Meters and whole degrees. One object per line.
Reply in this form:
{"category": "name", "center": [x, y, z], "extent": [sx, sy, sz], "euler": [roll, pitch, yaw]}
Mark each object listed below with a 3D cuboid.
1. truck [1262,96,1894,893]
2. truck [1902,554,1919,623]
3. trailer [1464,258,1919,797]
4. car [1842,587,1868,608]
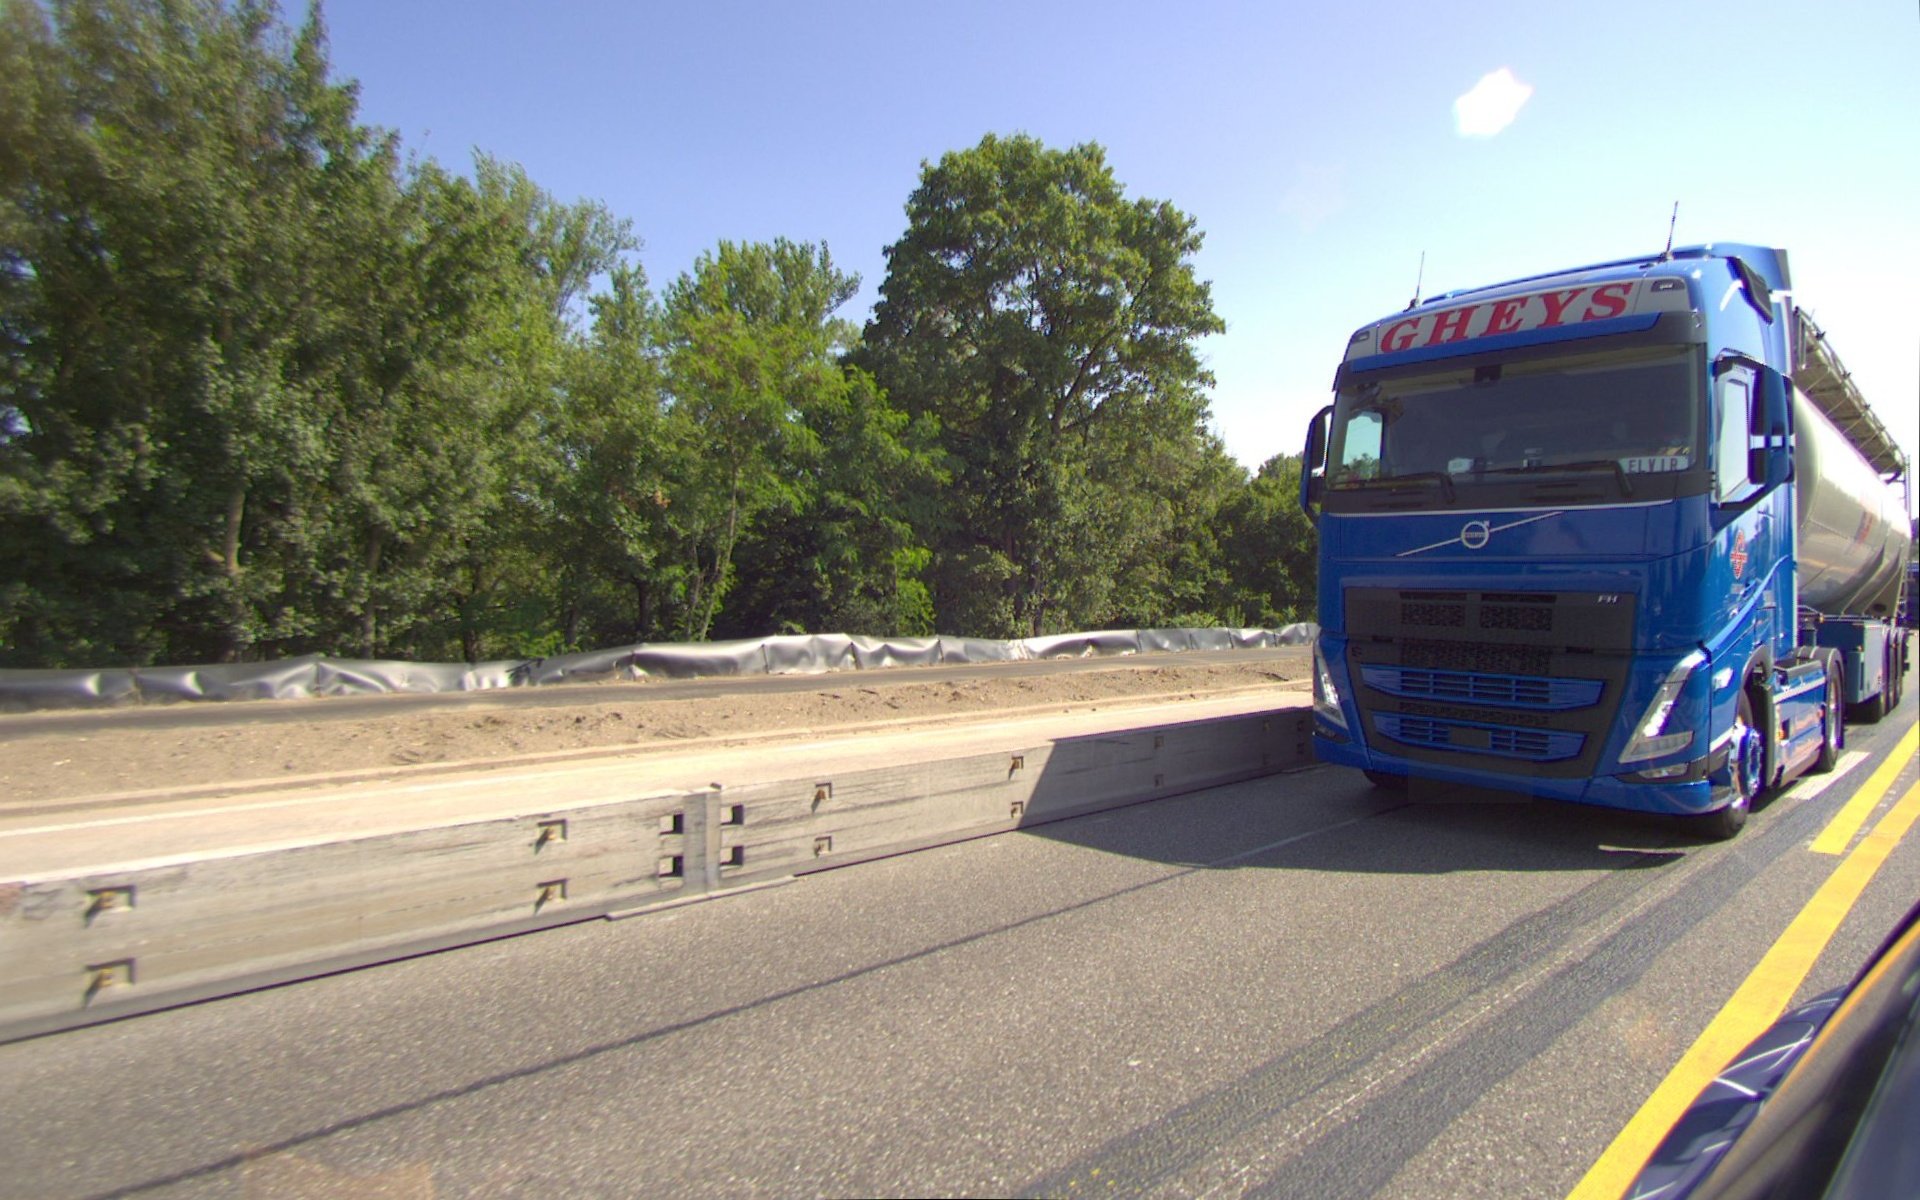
{"category": "truck", "center": [5.780, -0.593, 8.743], "extent": [7.177, 4.152, 2.698], "euler": [0, 3, -43]}
{"category": "truck", "center": [59.685, -0.618, 61.701], "extent": [2.853, 4.033, 8.535], "euler": [4, 3, 41]}
{"category": "trailer", "center": [10.449, -0.598, 13.096], "extent": [12.401, 4.188, 2.698], "euler": [0, 3, -43]}
{"category": "car", "center": [116.763, -0.330, 132.107], "extent": [2.101, 2.674, 5.901], "euler": [4, 2, 38]}
